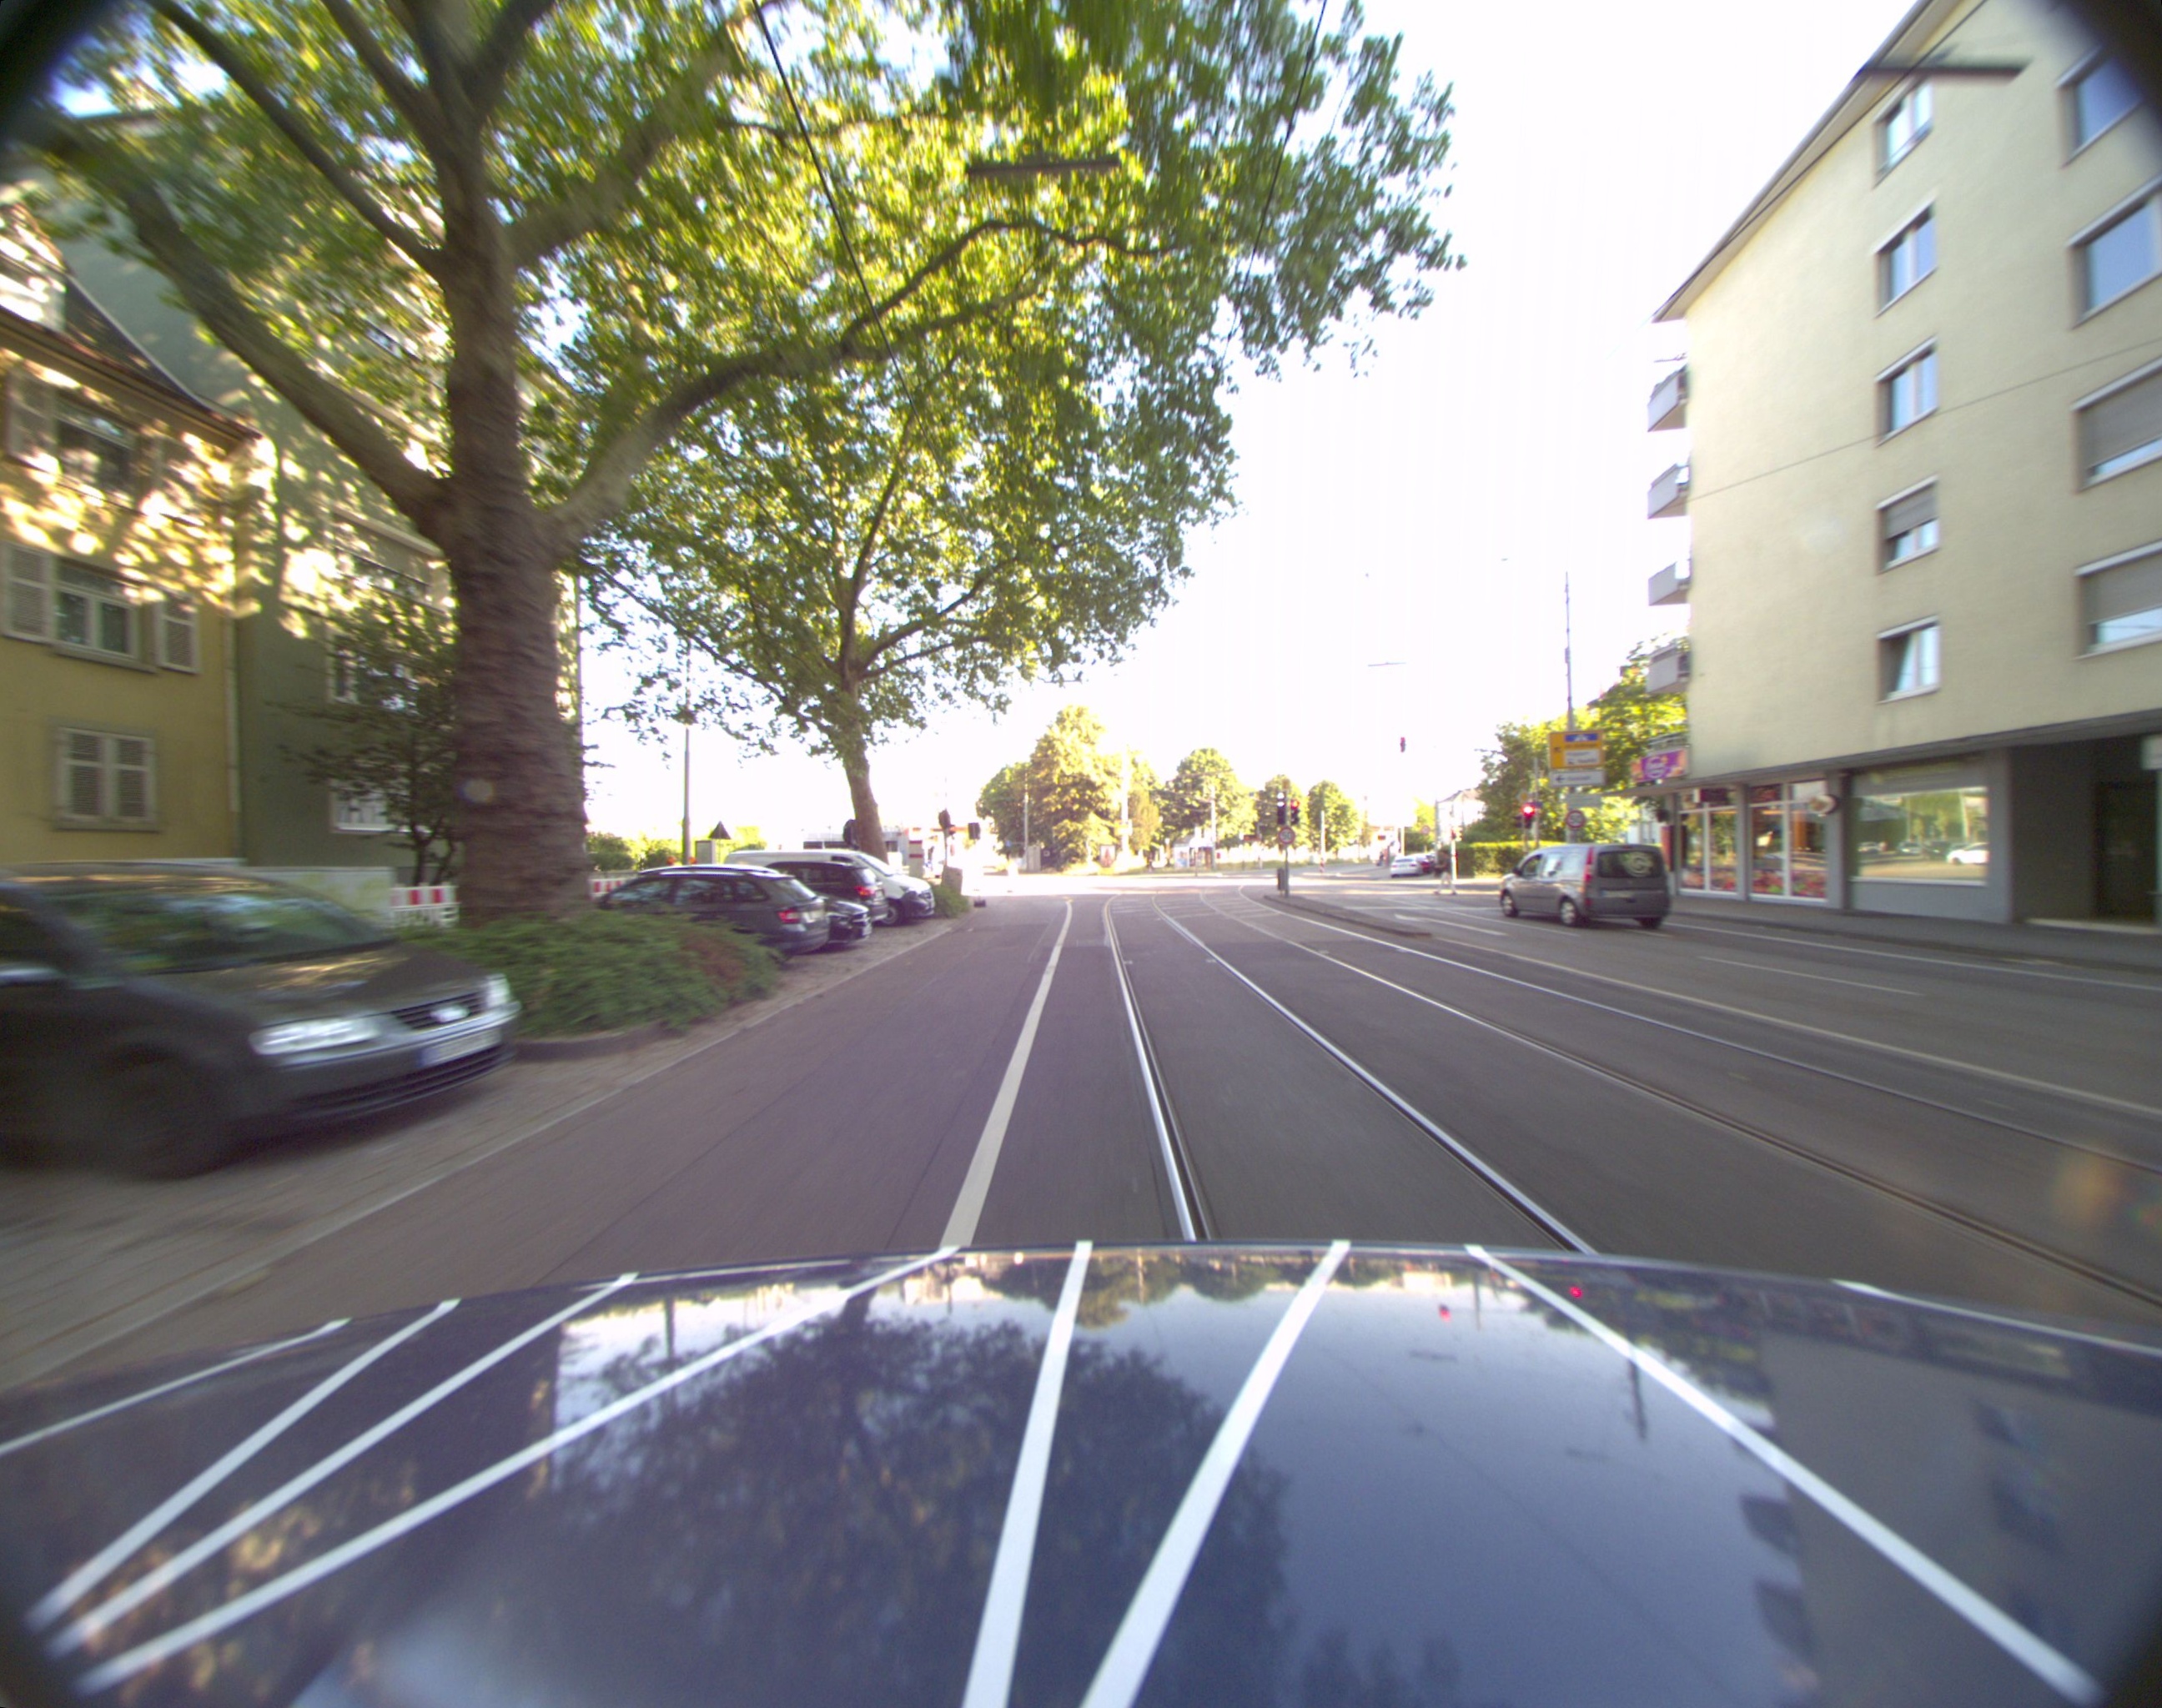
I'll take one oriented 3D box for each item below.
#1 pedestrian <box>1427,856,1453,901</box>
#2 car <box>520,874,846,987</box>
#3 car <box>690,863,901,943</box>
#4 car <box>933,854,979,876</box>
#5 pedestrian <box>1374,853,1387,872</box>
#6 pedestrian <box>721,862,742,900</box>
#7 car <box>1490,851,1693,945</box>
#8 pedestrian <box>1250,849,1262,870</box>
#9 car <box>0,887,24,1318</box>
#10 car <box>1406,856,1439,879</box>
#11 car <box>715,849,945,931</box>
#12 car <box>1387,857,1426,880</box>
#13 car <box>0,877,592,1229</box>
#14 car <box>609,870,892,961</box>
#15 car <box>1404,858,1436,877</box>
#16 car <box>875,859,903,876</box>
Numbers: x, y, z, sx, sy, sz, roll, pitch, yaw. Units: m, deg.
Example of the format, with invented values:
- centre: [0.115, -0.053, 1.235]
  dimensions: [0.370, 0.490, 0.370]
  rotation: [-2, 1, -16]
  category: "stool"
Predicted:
- centre: [13.517, 0.922, 28.611]
  dimensions: [0.753, 1.670, 0.794]
  rotation: [0, 1, 16]
  category: "pedestrian"
- centre: [-5.675, 1.072, 11.223]
  dimensions: [3.891, 1.488, 1.741]
  rotation: [0, 0, -2]
  category: "car"
- centre: [-6.086, 1.018, 16.517]
  dimensions: [3.884, 1.596, 1.796]
  rotation: [0, 0, 0]
  category: "car"
- centre: [-8.924, 0.798, 54.545]
  dimensions: [1.638, 1.427, 3.577]
  rotation: [-4, -1, 21]
  category: "car"
- centre: [32.686, 0.952, 83.005]
  dimensions: [1.001, 2.002, 0.876]
  rotation: [-1, 1, -20]
  category: "pedestrian"
- centre: [-15.138, 1.165, 32.934]
  dimensions: [0.689, 1.622, 0.640]
  rotation: [-1, 1, -36]
  category: "pedestrian"
- centre: [11.033, 0.837, 16.856]
  dimensions: [1.997, 1.821, 4.226]
  rotation: [0, 0, 7]
  category: "car"
- centre: [17.360, 0.548, 75.333]
  dimensions: [0.913, 2.002, 0.860]
  rotation: [-1, 0, -4]
  category: "pedestrian"
- centre: [-6.529, 0.971, 2.340]
  dimensions: [4.317, 1.721, 1.841]
  rotation: [1, 1, 5]
  category: "car"
- centre: [27.549, 1.062, 61.245]
  dimensions: [1.814, 1.684, 3.989]
  rotation: [-3, -1, 32]
  category: "car"
- centre: [-6.164, 0.855, 19.087]
  dimensions: [5.126, 1.845, 1.914]
  rotation: [1, 1, 0]
  category: "car"
- centre: [22.000, 0.957, 51.349]
  dimensions: [1.814, 1.419, 3.748]
  rotation: [-3, -1, 32]
  category: "car"
- centre: [-5.861, 1.014, 4.685]
  dimensions: [4.436, 1.648, 1.908]
  rotation: [0, 1, -1]
  category: "car"
- centre: [-5.932, 1.073, 13.998]
  dimensions: [4.410, 1.514, 1.818]
  rotation: [0, 0, 1]
  category: "car"
- centre: [24.689, 0.980, 55.328]
  dimensions: [1.638, 1.315, 3.345]
  rotation: [-3, -1, 32]
  category: "car"
- centre: [-16.439, 1.159, 64.944]
  dimensions: [1.644, 1.390, 3.332]
  rotation: [-1, 0, -25]
  category: "car"
